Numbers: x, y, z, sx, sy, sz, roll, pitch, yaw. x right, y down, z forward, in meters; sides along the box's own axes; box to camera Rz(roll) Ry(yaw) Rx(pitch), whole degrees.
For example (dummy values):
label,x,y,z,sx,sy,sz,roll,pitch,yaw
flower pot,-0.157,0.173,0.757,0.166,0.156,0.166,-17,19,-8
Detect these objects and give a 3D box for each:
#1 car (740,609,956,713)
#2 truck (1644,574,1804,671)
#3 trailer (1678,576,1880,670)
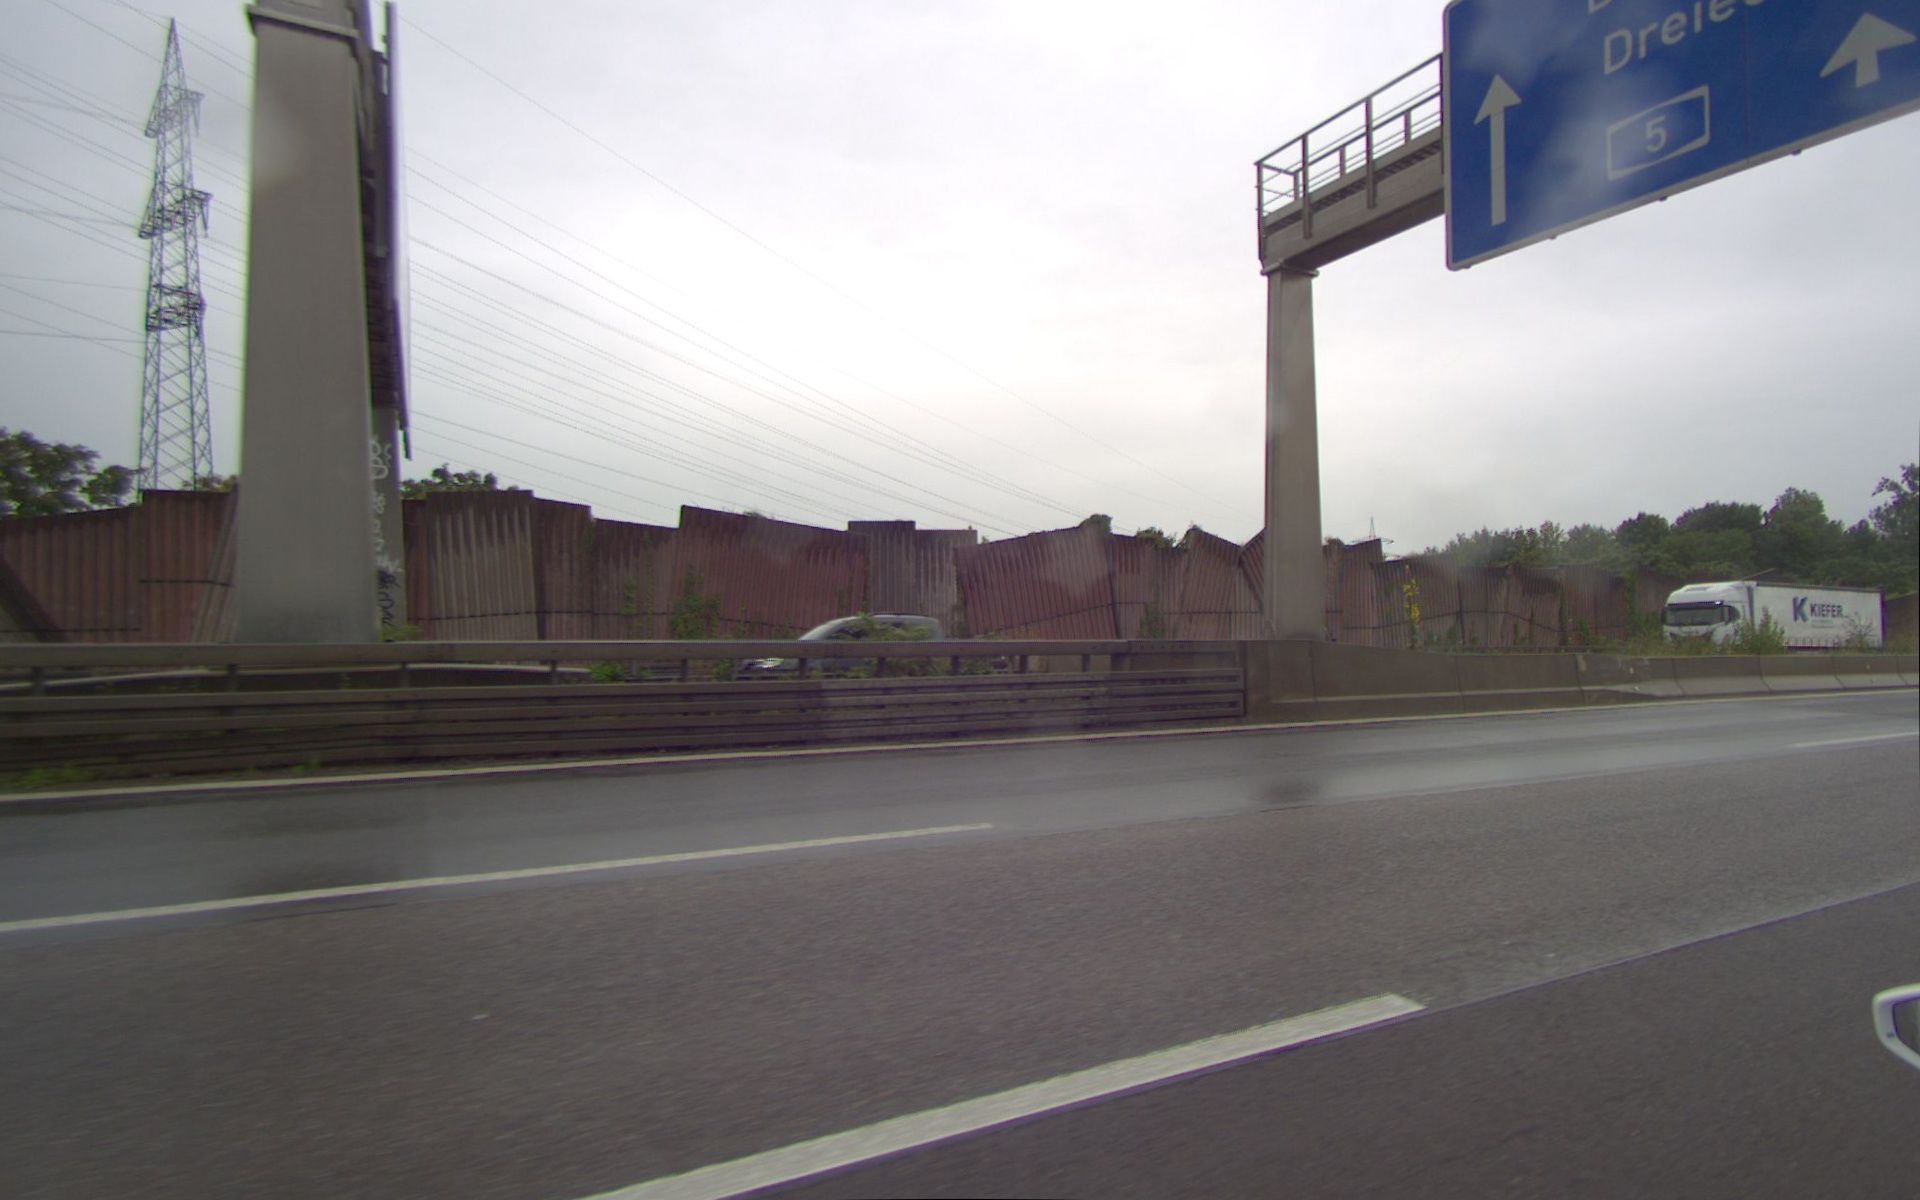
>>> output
label,x,y,z,sx,sy,sz,roll,pitch,yaw
car,-2.364,1.233,21.353,4.121,1.957,1.984,1,0,-30
truck,36.021,1.037,47.298,7.792,4.242,3.043,1,0,-29
trailer,41.133,1.163,50.204,13.405,4.242,3.043,1,0,-29
